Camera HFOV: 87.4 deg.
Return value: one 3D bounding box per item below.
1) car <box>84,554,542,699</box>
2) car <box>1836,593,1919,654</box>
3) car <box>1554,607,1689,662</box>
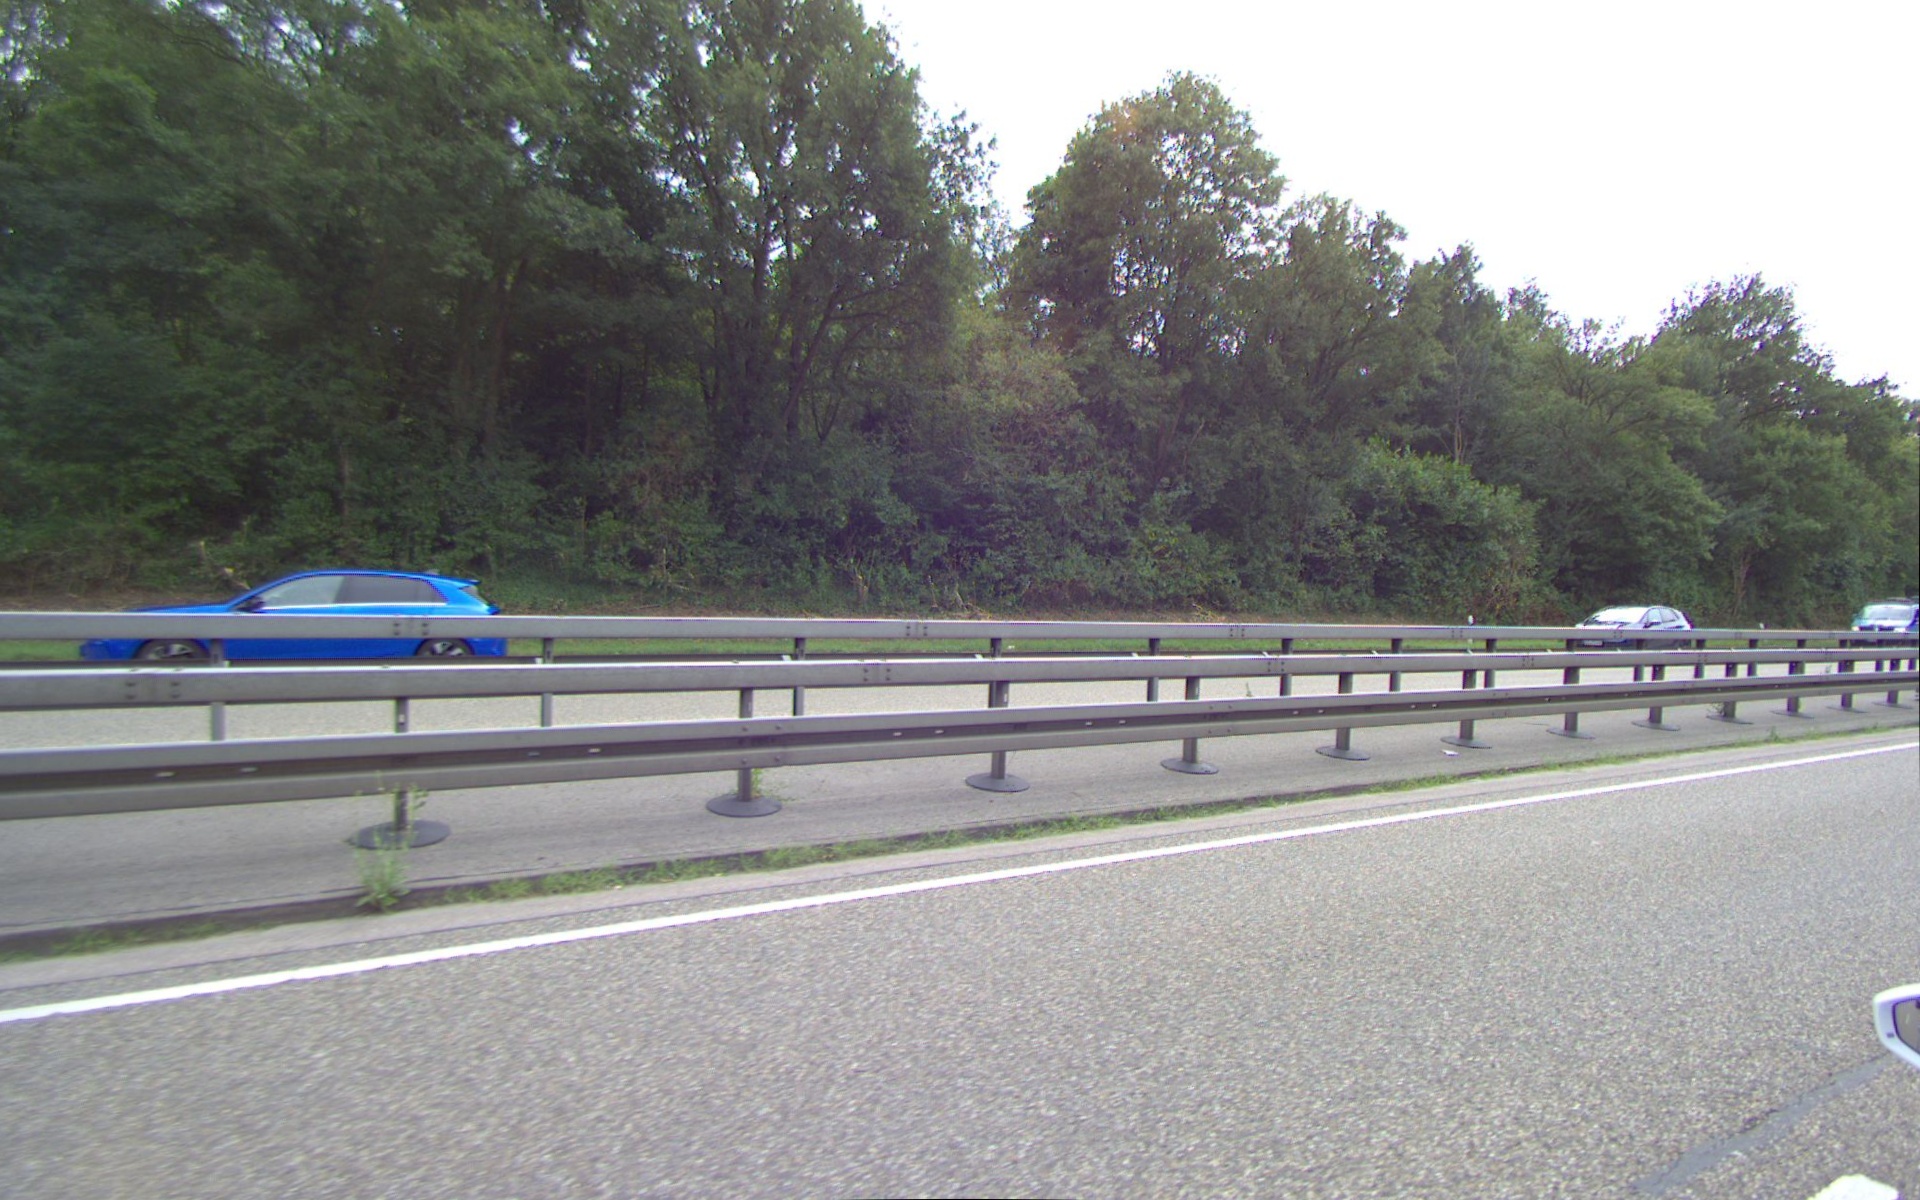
[{"bbox_3d":[-7.756,0.333,12.547,4.452,1.530,1.984,2,-1,-30],"label":"car"},{"bbox_3d":[37.573,0.956,40.464,5.244,2.352,1.925,2,-1,-31],"label":"car"},{"bbox_3d":[19.243,0.995,29.176,4.042,1.486,1.686,2,-1,-31],"label":"car"}]
